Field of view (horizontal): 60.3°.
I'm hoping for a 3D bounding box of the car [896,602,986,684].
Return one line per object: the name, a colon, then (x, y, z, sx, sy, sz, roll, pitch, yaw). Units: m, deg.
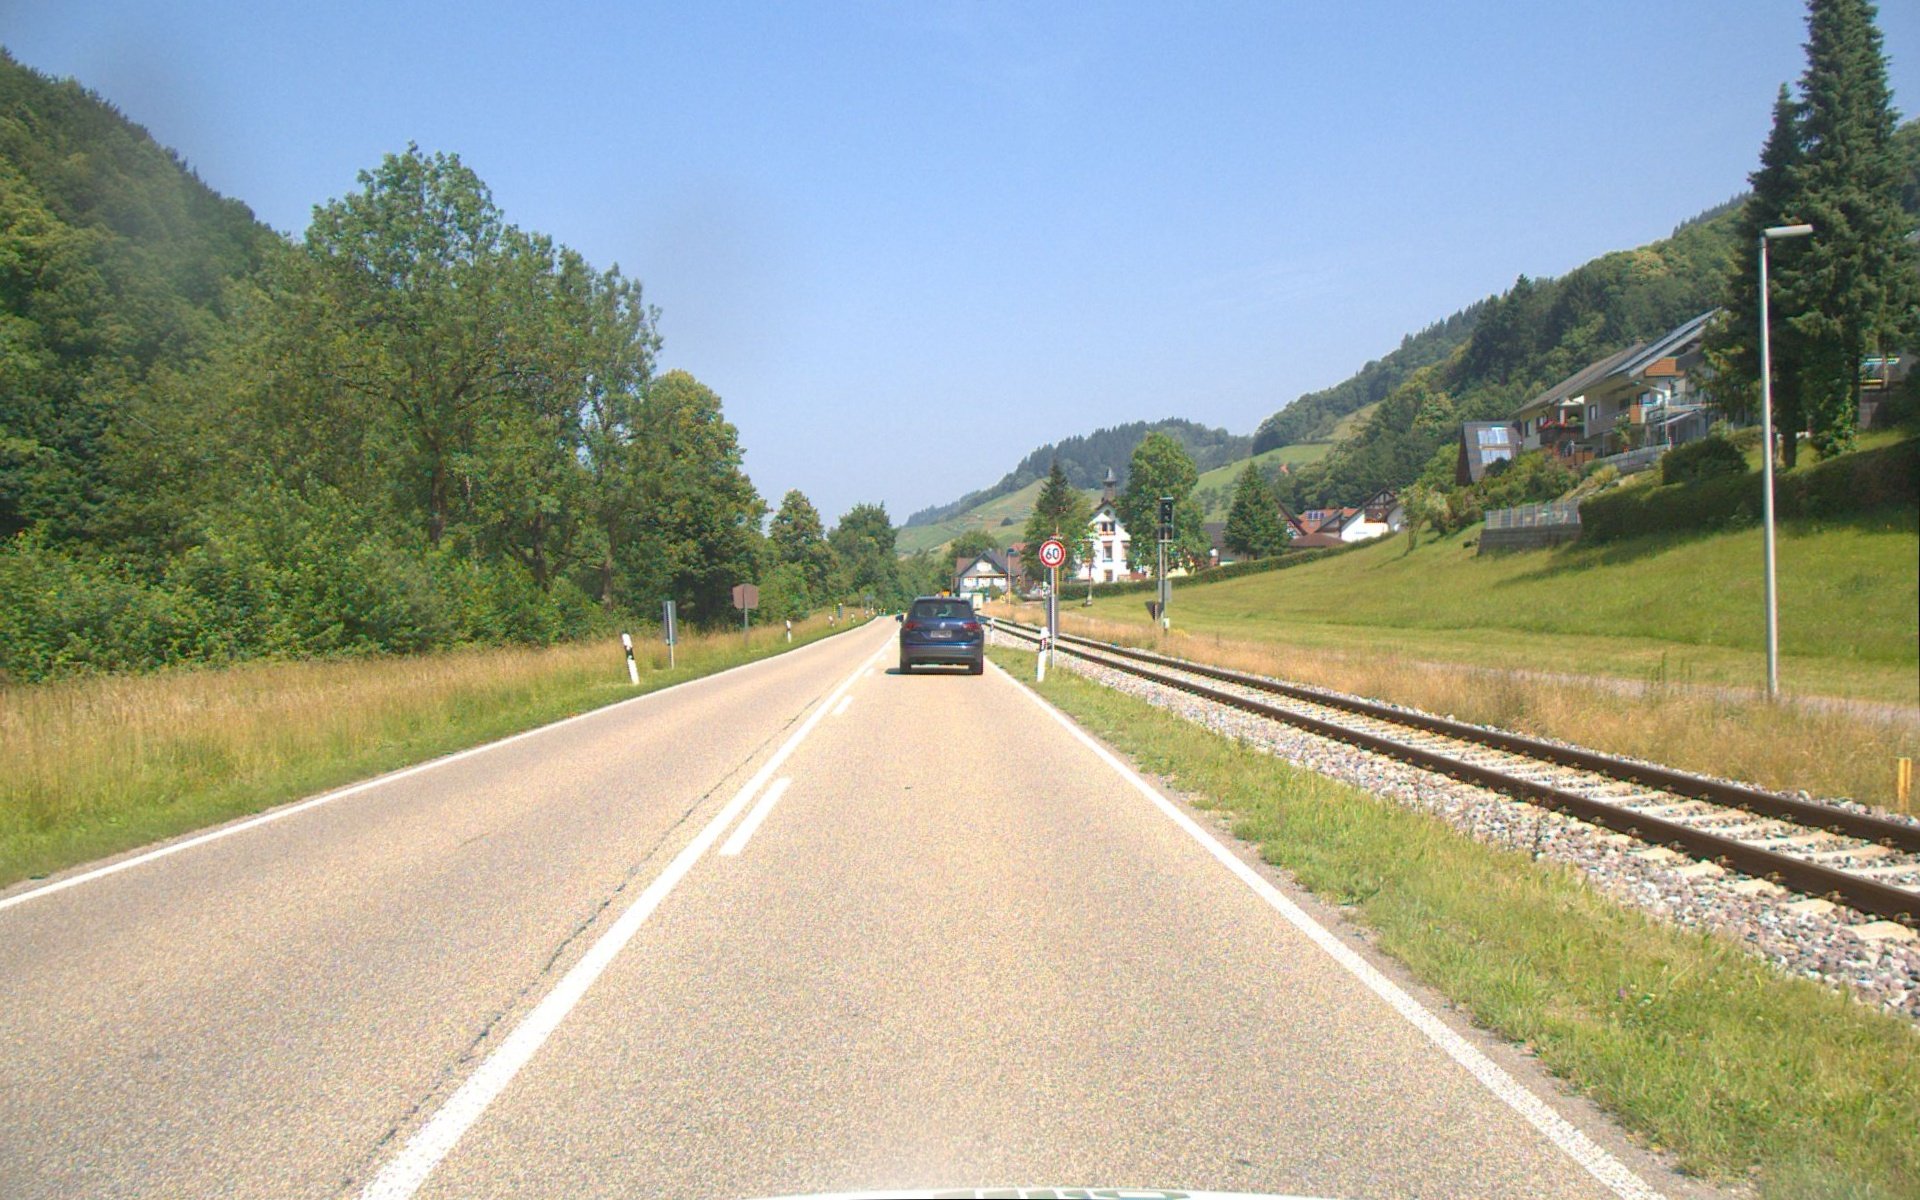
car: (-0.356, 0.897, 36.079, 1.814, 1.678, 4.140, 0, 0, 1)
